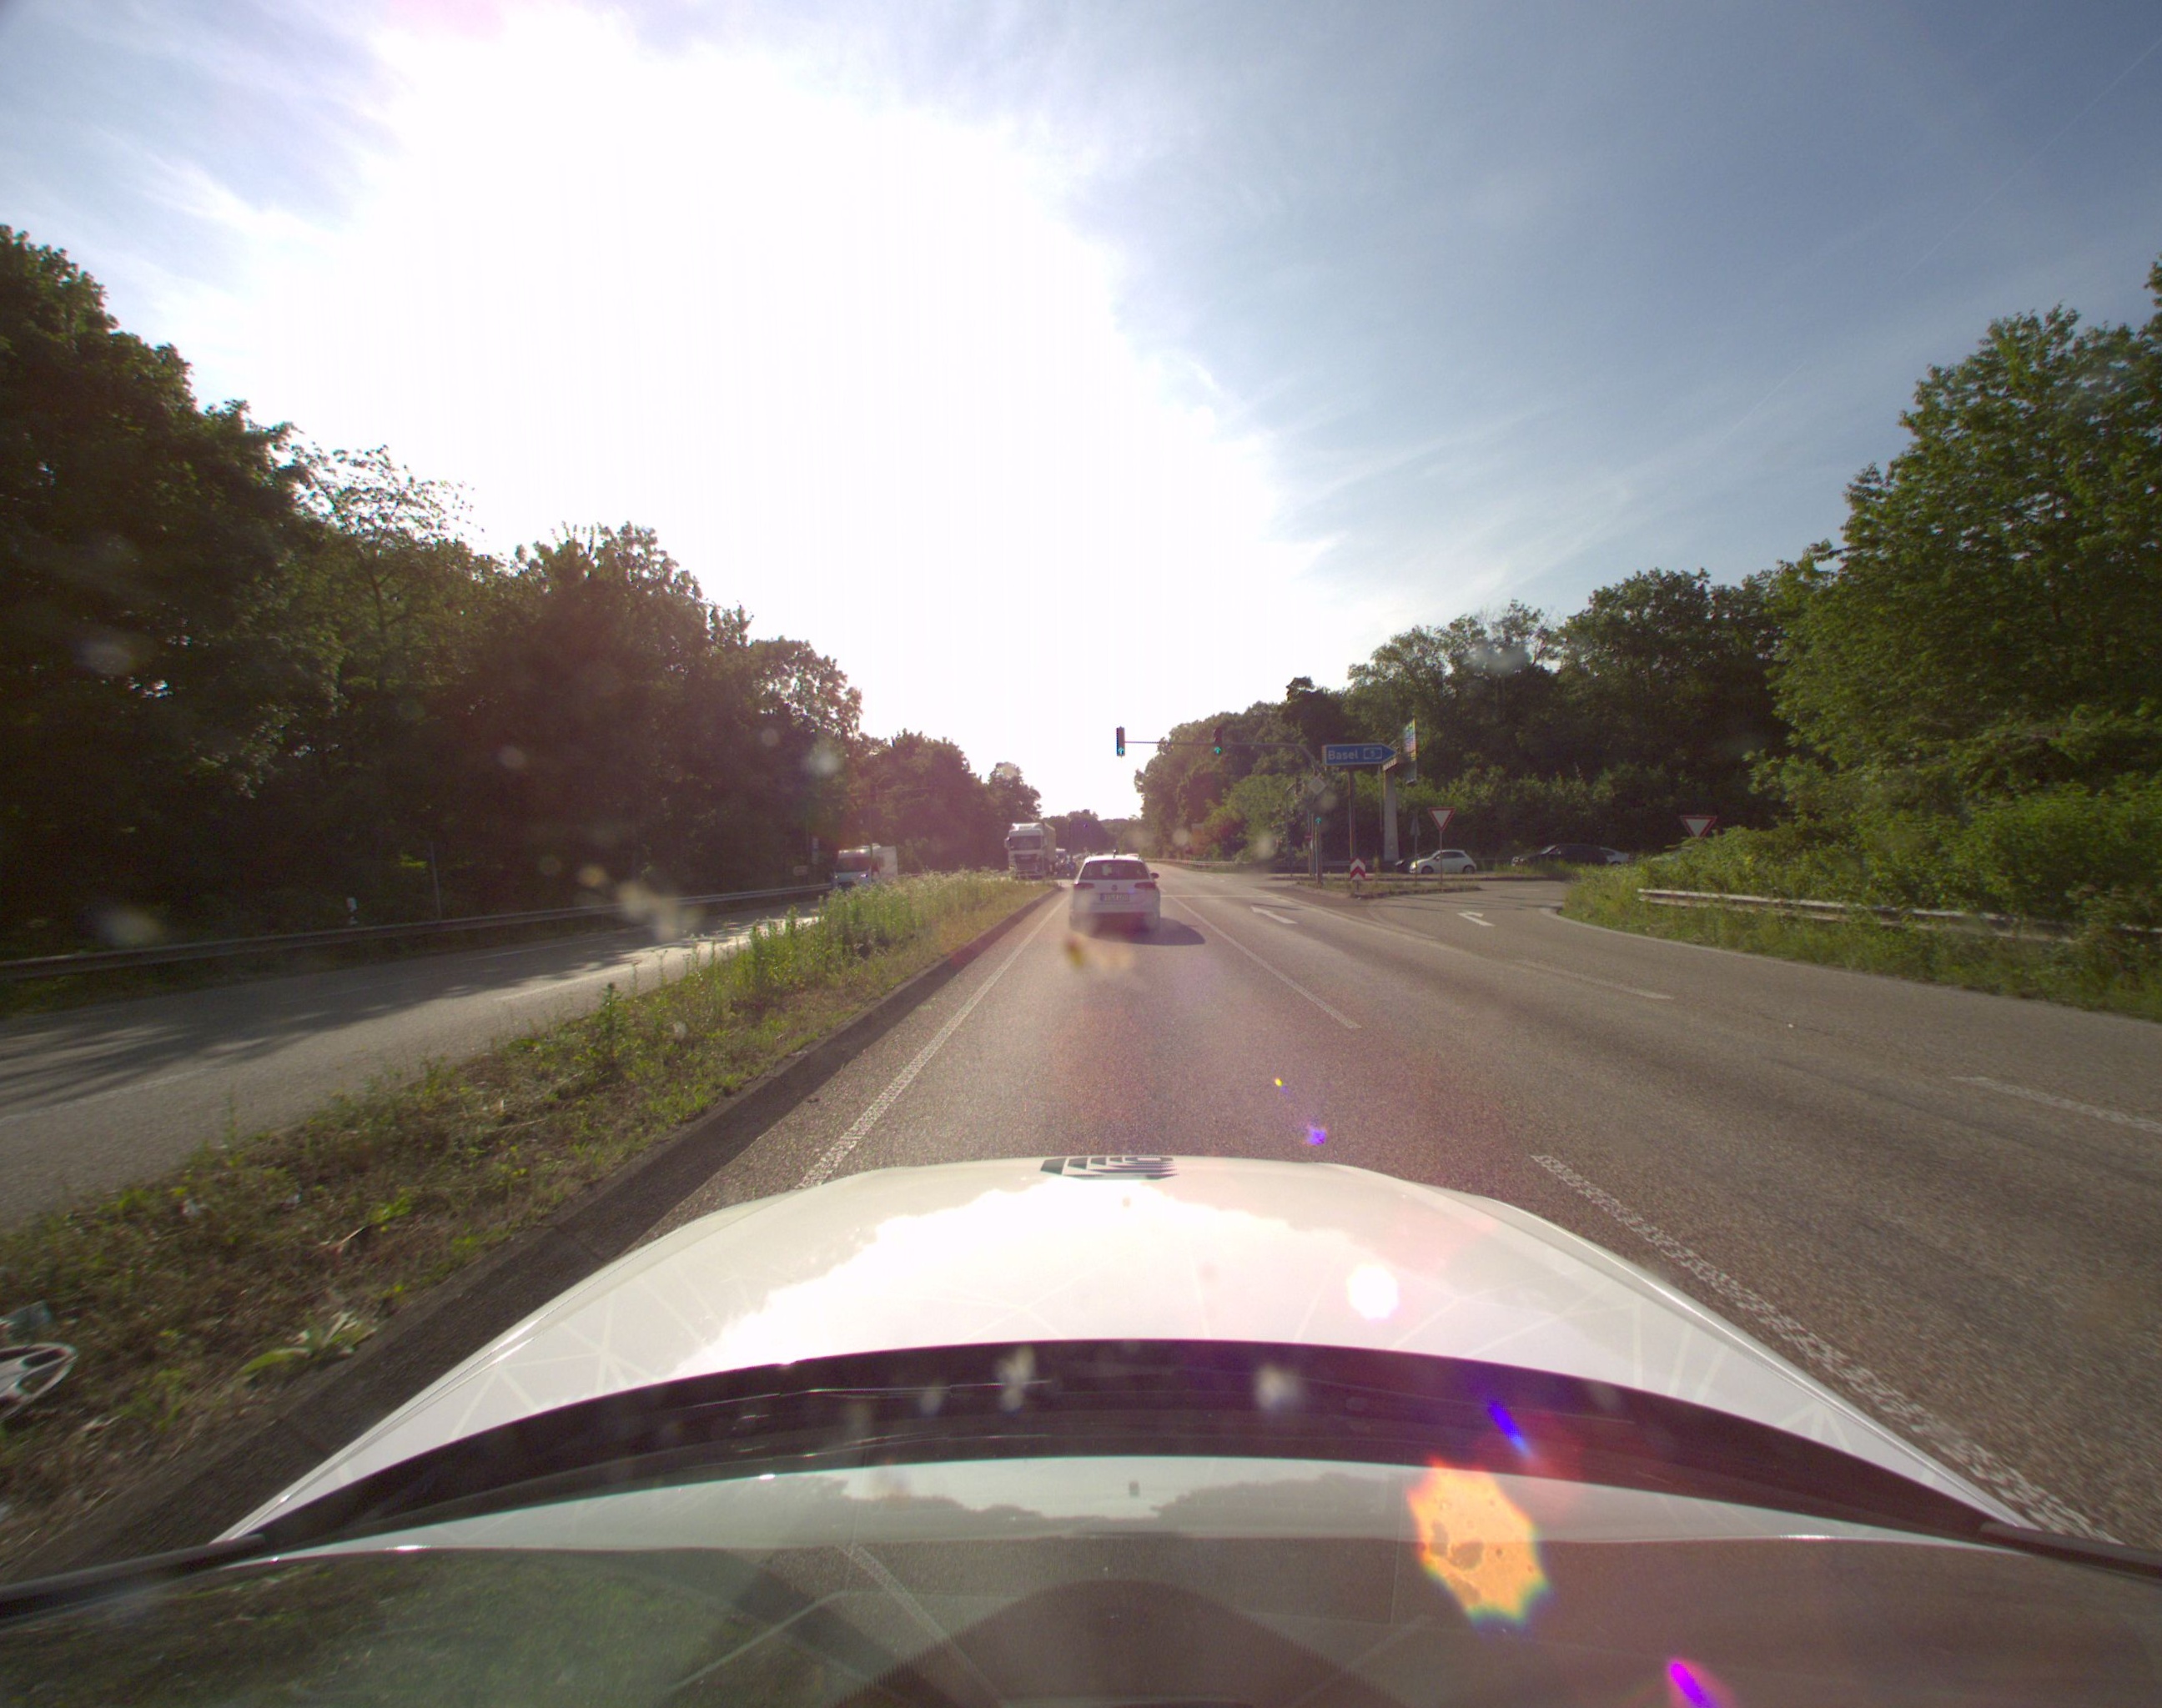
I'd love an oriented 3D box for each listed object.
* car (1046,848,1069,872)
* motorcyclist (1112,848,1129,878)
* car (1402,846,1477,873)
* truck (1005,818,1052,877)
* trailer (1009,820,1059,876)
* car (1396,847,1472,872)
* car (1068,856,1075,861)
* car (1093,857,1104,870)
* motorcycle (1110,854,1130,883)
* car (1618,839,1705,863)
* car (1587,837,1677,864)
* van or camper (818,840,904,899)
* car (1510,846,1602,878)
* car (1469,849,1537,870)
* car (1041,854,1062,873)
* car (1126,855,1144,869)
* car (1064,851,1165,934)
[{"bbox_3d":[-2.575,0.633,91.756,2.067,2.533,6.167,-3,0,2],"label":"car"},{"bbox_3d":[2.158,0.461,44.409,0.880,1.616,1.291,0,0,4],"label":"motorcyclist"},{"bbox_3d":[20.762,0.326,47.253,3.579,1.503,1.812,-1,0,6],"label":"car"},{"bbox_3d":[-3.716,-0.428,58.764,2.881,3.997,6.722,0,0,0],"label":"truck"},{"bbox_3d":[-3.587,-0.427,65.946,2.981,3.996,14.016,0,0,1],"label":"trailer"},{"bbox_3d":[22.016,0.355,50.958,4.083,1.496,1.790,-1,0,11],"label":"car"},{"bbox_3d":[-2.760,1.423,243.894,1.754,1.380,3.974,-1,0,3],"label":"car"},{"bbox_3d":[4.233,2.265,195.206,2.201,2.888,7.014,-3,0,2],"label":"car"},{"bbox_3d":[2.154,0.773,44.353,0.905,1.453,2.692,-5,0,4],"label":"motorcycle"},{"bbox_3d":[36.808,-0.180,51.724,4.088,1.441,1.873,-1,0,6],"label":"car"},{"bbox_3d":[32.884,-0.225,48.705,4.088,1.496,1.873,-1,0,6],"label":"car"},{"bbox_3d":[-11.438,0.777,42.995,2.404,2.710,6.440,-4,0,2],"label":"van or camper"},{"bbox_3d":[26.772,0.423,46.023,4.088,1.708,1.873,-1,0,6],"label":"car"},{"bbox_3d":[27.313,0.343,52.801,3.607,1.313,1.494,-1,0,6],"label":"car"},{"bbox_3d":[-2.743,0.884,75.867,1.694,1.631,4.371,-3,0,1],"label":"car"},{"bbox_3d":[5.350,0.785,80.969,1.754,1.380,3.974,-1,0,3],"label":"car"},{"bbox_3d":[0.708,0.710,17.530,1.863,1.521,4.836,0,0,2],"label":"car"}]
